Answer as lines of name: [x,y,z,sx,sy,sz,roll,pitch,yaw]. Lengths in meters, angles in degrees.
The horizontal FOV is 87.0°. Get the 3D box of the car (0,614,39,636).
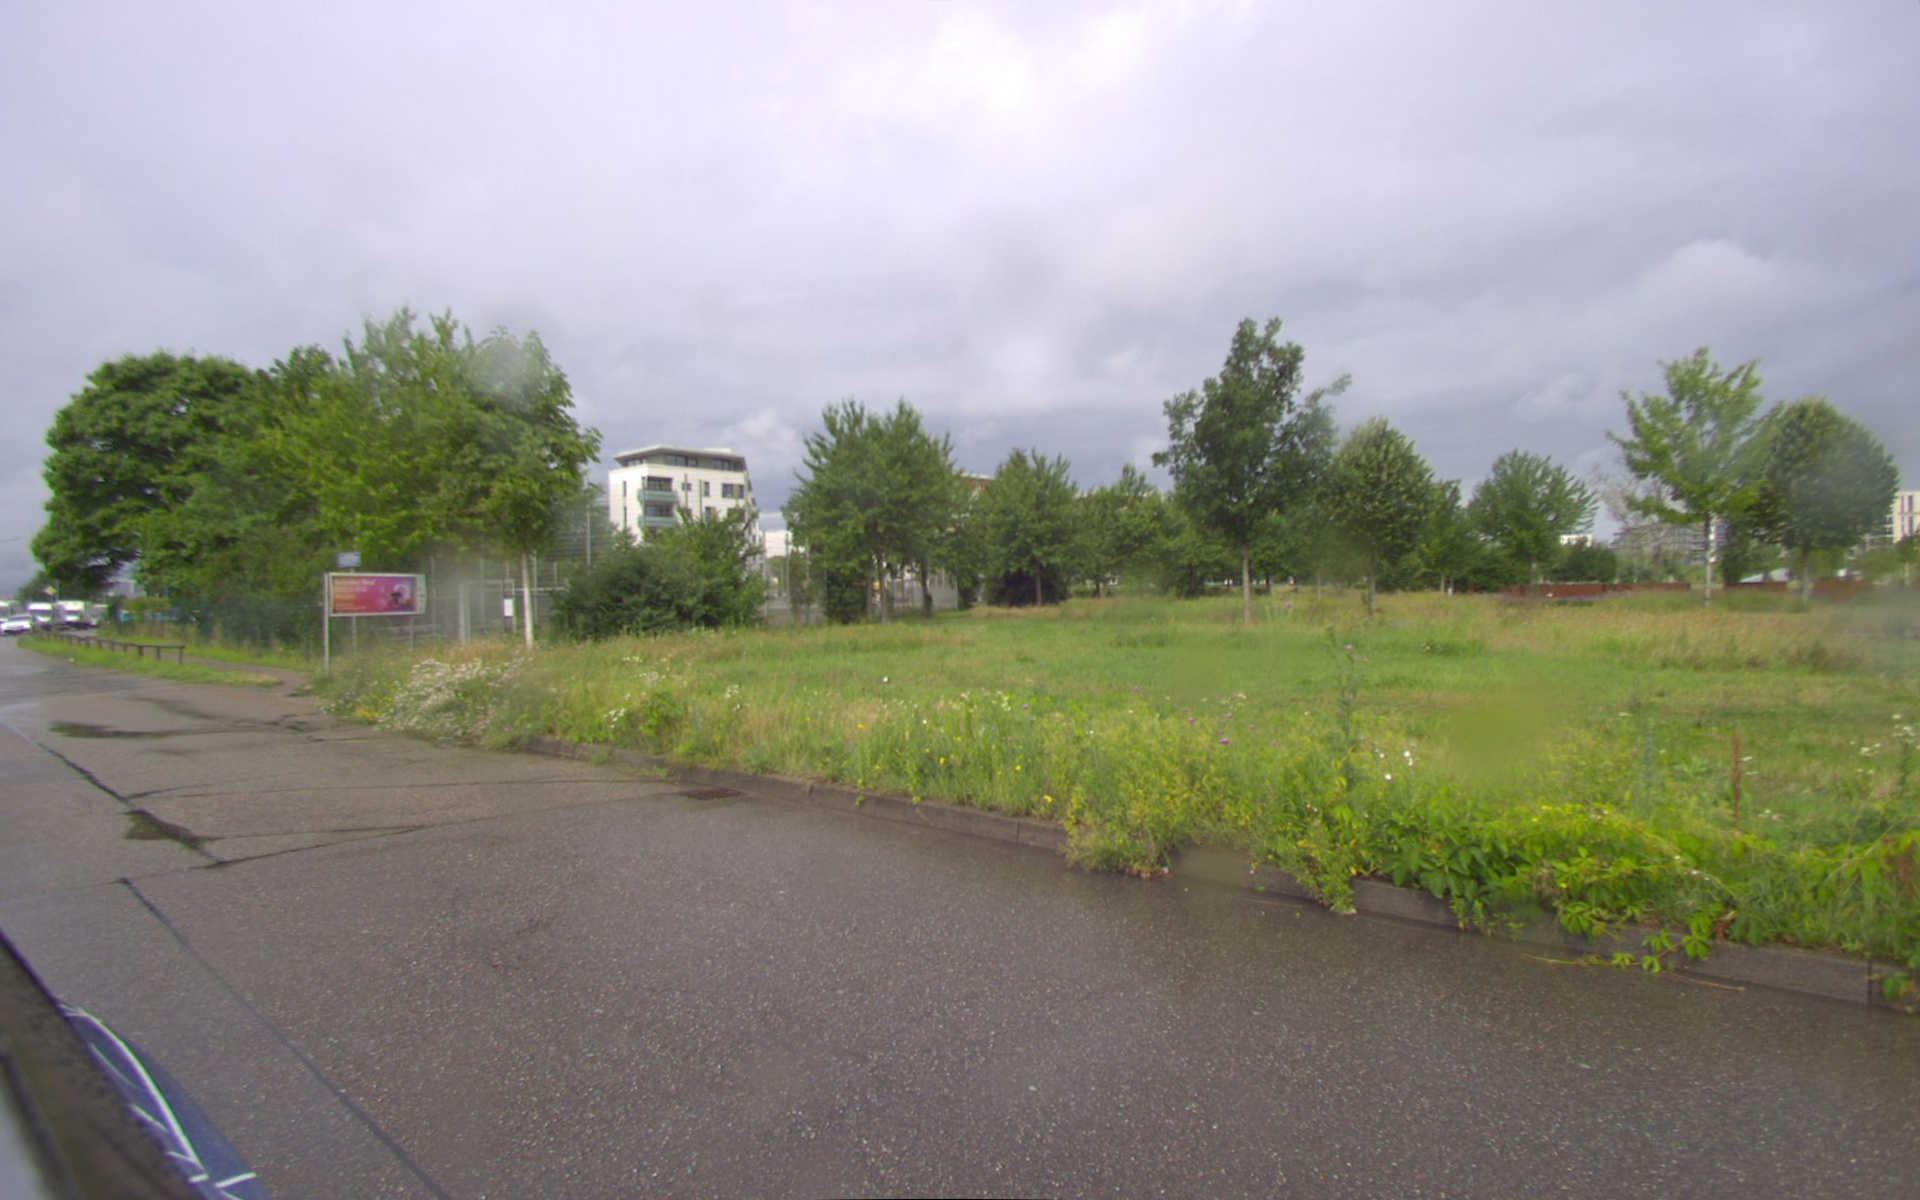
car: [-69.949,1.808,74.992,1.812,1.530,4.369,-1,0,-33]

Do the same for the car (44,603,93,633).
car: [-91.438,1.784,103.932,2.436,2.978,6.907,0,-1,-30]

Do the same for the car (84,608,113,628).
car: [-100.978,2.061,118.639,1.966,2.258,4.576,-1,0,-32]

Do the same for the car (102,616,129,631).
car: [-91.552,2.506,109.733,1.812,1.530,4.368,-1,0,-34]

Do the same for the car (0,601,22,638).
car: [-76.903,1.497,80.770,2.115,2.905,5.290,2,-1,-34]

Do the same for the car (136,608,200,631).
car: [-67.783,1.637,86.690,4.117,1.560,1.865,-5,2,-33]

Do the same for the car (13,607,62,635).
car: [-86.032,1.932,94.432,2.040,2.548,6.677,1,-1,-31]
